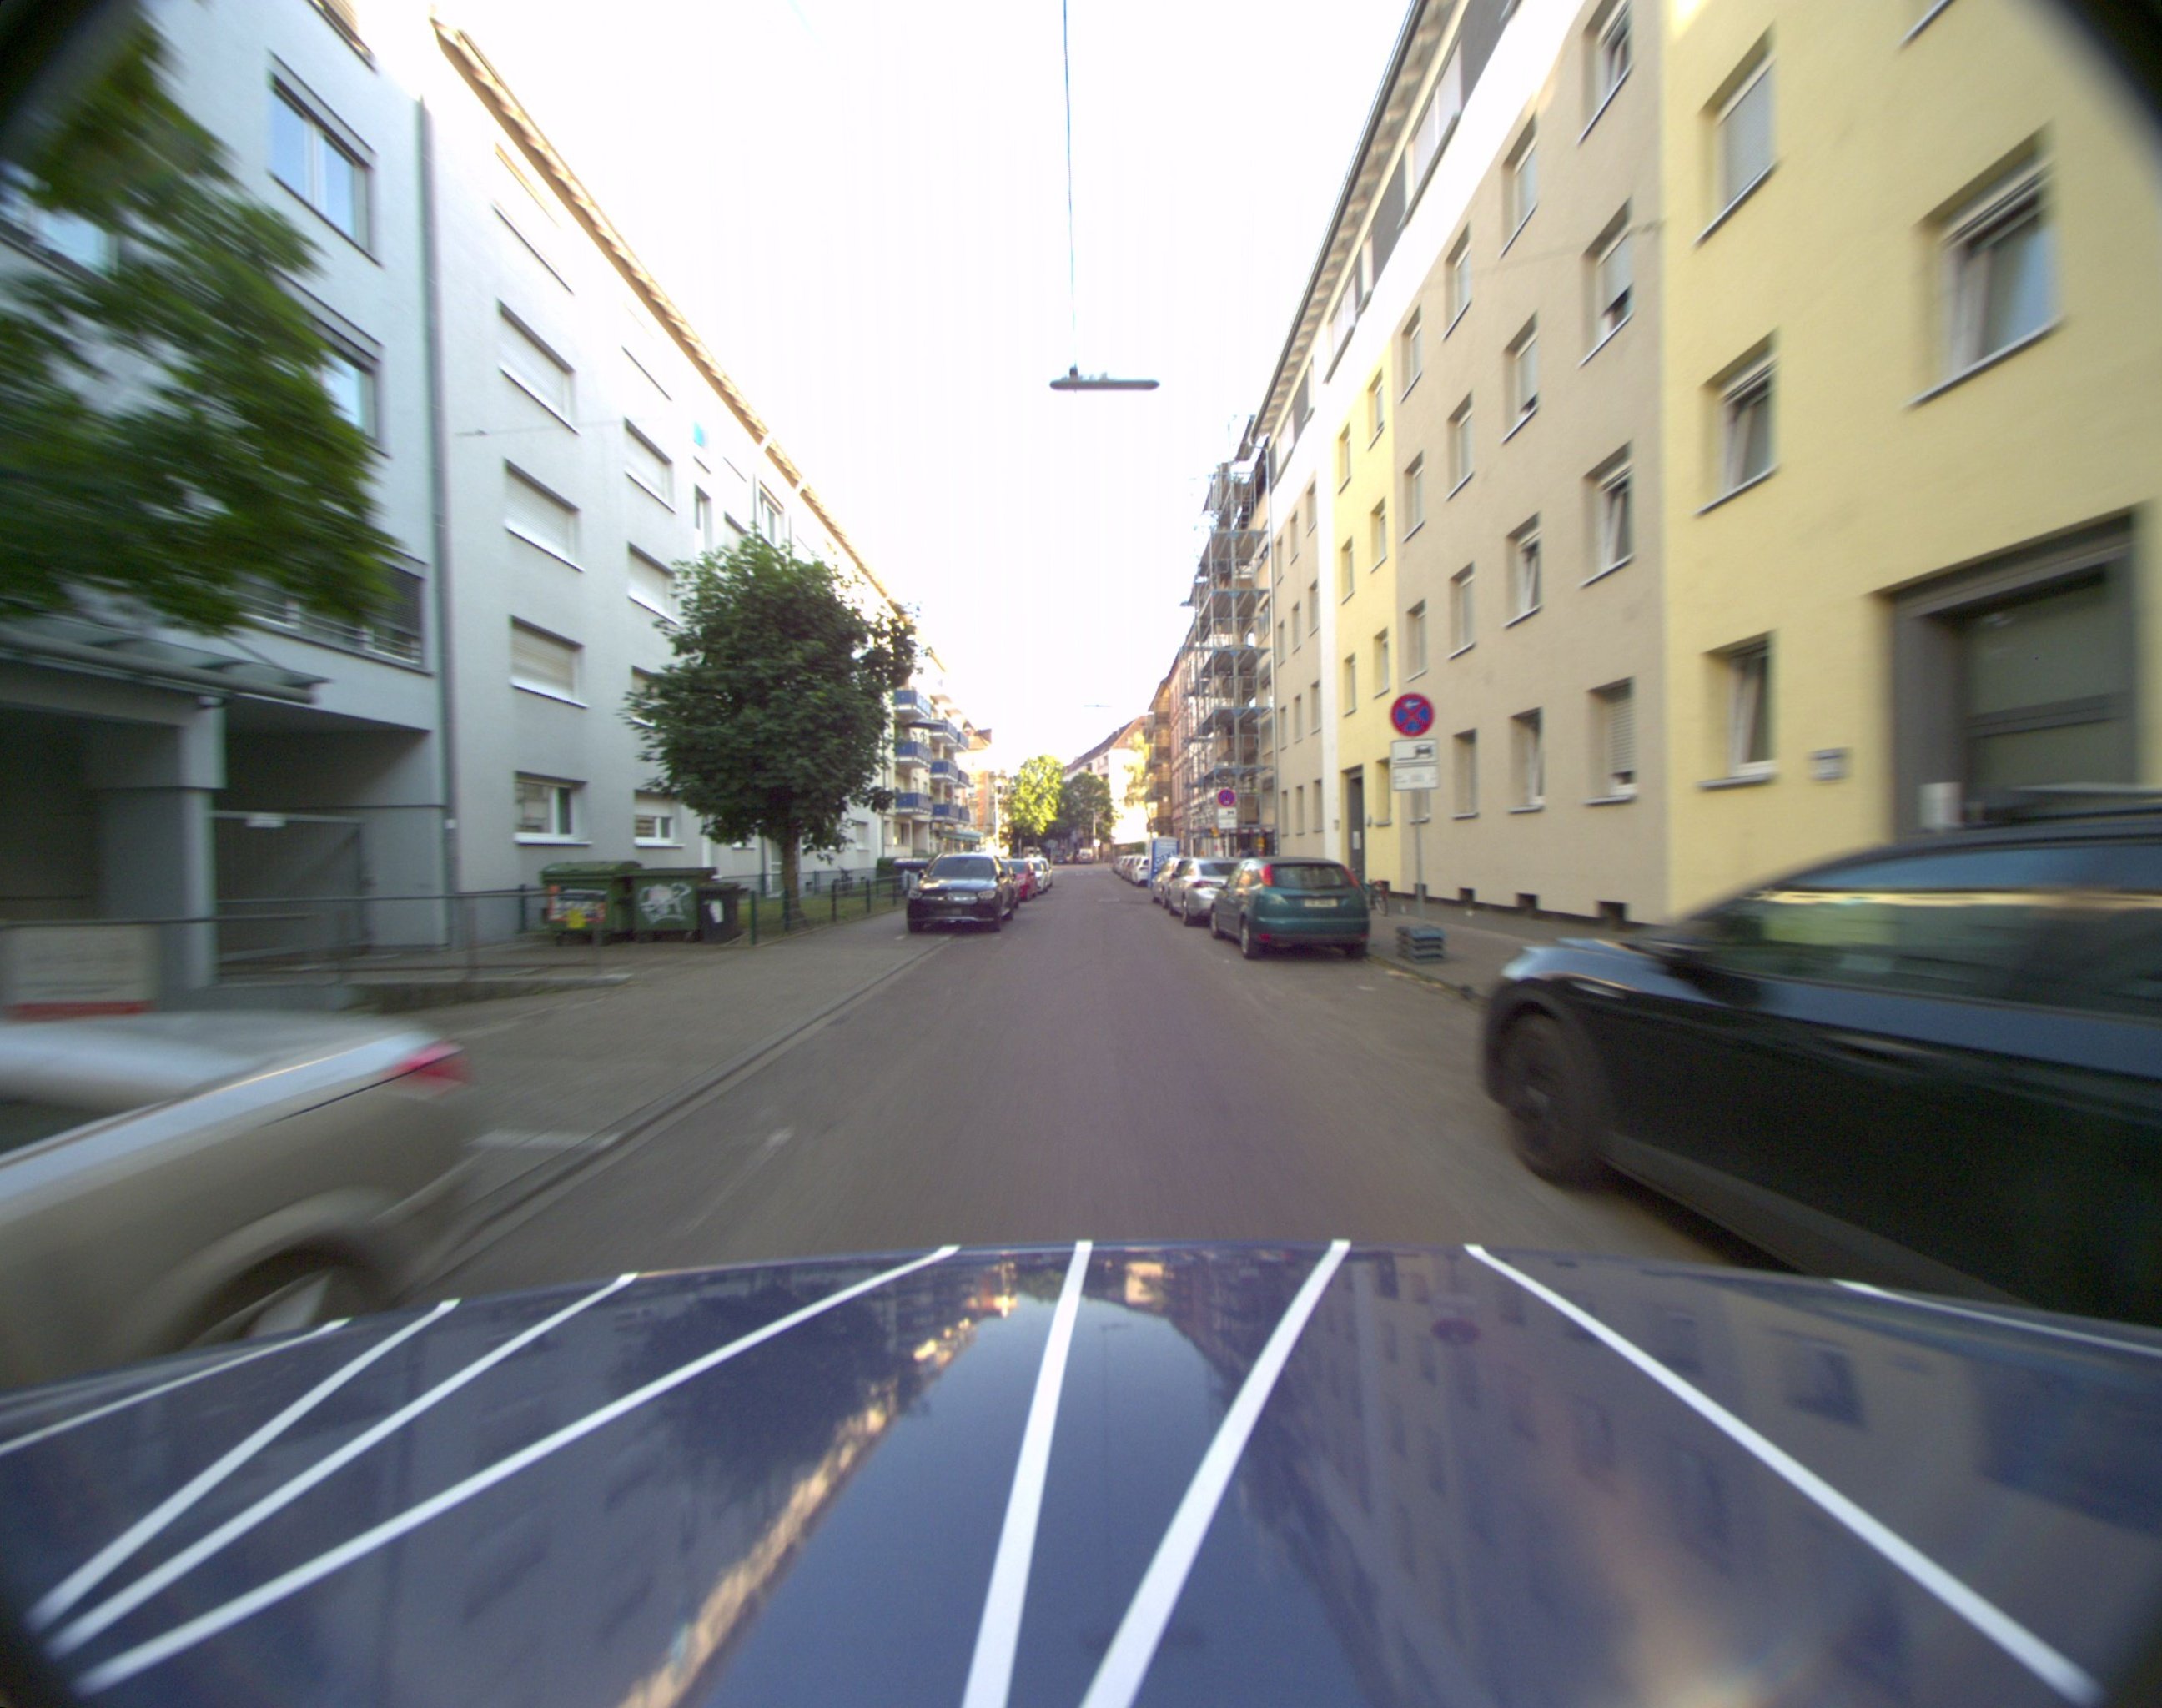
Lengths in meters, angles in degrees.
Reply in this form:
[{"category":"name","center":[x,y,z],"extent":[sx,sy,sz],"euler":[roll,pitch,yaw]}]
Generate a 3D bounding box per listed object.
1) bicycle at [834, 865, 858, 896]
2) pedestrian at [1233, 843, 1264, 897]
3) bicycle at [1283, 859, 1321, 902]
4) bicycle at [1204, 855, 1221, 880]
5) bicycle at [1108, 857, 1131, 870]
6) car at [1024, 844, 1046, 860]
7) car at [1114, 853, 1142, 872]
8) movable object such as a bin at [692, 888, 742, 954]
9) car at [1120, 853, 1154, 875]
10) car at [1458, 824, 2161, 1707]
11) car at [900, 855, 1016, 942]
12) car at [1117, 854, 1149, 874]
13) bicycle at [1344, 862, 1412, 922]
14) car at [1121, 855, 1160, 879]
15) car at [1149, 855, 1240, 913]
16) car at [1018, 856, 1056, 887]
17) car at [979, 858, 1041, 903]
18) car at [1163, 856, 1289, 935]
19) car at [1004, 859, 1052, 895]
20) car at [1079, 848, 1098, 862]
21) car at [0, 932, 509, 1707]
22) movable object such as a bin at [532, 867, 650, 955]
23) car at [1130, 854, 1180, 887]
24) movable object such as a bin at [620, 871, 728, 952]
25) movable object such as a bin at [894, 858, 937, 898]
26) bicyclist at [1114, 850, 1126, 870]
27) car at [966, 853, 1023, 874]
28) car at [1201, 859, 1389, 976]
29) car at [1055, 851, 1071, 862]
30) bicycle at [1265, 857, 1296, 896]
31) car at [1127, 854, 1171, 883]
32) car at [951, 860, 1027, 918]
[{"category":"bicycle","center":[-8.533,0.943,27.581],"extent":[0.602,1.084,1.738],"euler":[0,1,-10]},{"category":"pedestrian","center":[5.549,0.513,25.179],"extent":[0.791,1.750,1.092],"euler":[0,1,1]},{"category":"bicycle","center":[6.409,0.746,22.106],"extent":[0.479,1.161,1.732],"euler":[-4,1,-2]},{"category":"bicycle","center":[6.692,0.699,38.648],"extent":[0.490,1.161,1.684],"euler":[-4,1,19]},{"category":"bicycle","center":[3.616,0.875,71.130],"extent":[2.106,1.161,0.567],"euler":[0,1,0]},{"category":"car","center":[-6.578,-0.326,108.529],"extent":[2.163,2.270,6.200],"euler":[0,0,-13]},{"category":"car","center":[3.866,0.686,62.943],"extent":[1.999,1.462,3.999],"euler":[0,0,-1]},{"category":"movable object such as a bin","center":[-6.182,1.134,12.932],"extent":[0.529,1.065,0.625],"euler":[0,1,1]},{"category":"car","center":[3.808,0.680,52.363],"extent":[1.999,1.423,3.999],"euler":[0,0,-1]},{"category":"car","center":[2.976,0.782,1.793],"extent":[1.925,1.654,4.469],"euler":[1,0,0]},{"category":"car","center":[-2.553,0.862,16.895],"extent":[1.876,1.626,4.721],"euler":[0,0,-1]},{"category":"car","center":[3.861,0.706,57.034],"extent":[1.999,1.423,3.999],"euler":[0,0,-1]},{"category":"bicycle","center":[6.248,0.775,16.085],"extent":[0.611,1.161,1.924],"euler":[0,0,-2]},{"category":"car","center":[3.625,0.771,46.944],"extent":[1.999,1.423,3.999],"euler":[0,0,-1]},{"category":"car","center":[3.206,0.796,22.352],"extent":[1.927,1.480,4.616],"euler":[0,0,-1]},{"category":"car","center":[-2.191,0.853,38.574],"extent":[1.680,1.411,4.135],"euler":[0,0,0]},{"category":"car","center":[-2.490,0.906,27.445],"extent":[1.680,1.474,3.652],"euler":[0,0,3]},{"category":"car","center":[3.051,0.804,16.985],"extent":[1.927,1.480,4.617],"euler":[0,0,0]},{"category":"car","center":[-2.205,0.934,32.384],"extent":[1.680,1.411,4.136],"euler":[0,0,1]},{"category":"car","center":[0.983,0.077,99.697],"extent":[2.081,1.760,4.215],"euler":[0,0,-6]},{"category":"car","center":[-2.794,0.981,0.321],"extent":[1.768,1.421,4.344],"euler":[0,0,1]},{"category":"movable object such as a bin","center":[-8.396,0.950,13.091],"extent":[1.264,1.428,1.139],"euler":[0,1,1]},{"category":"car","center":[3.525,0.737,36.799],"extent":[1.999,1.496,3.999],"euler":[0,0,-1]},{"category":"movable object such as a bin","center":[-7.087,0.975,13.307],"extent":[1.264,1.313,1.139],"euler":[0,1,1]},{"category":"movable object such as a bin","center":[-6.025,0.856,27.709],"extent":[1.287,1.428,1.223],"euler":[0,1,1]},{"category":"bicyclist","center":[3.610,0.569,71.115],"extent":[1.097,1.792,0.567],"euler":[0,1,0]},{"category":"car","center":[-6.351,0.688,56.070],"extent":[3.997,1.556,2.000],"euler":[0,1,-1]},{"category":"car","center":[3.139,0.840,12.127],"extent":[1.783,1.480,4.420],"euler":[0,0,1]},{"category":"car","center":[-2.450,0.329,101.469],"extent":[1.829,1.496,3.997],"euler":[0,0,-6]},{"category":"bicycle","center":[6.480,0.706,24.771],"extent":[0.405,1.161,1.816],"euler":[-4,1,-2]},{"category":"car","center":[3.648,0.756,41.628],"extent":[1.999,1.439,3.999],"euler":[0,0,-1]},{"category":"car","center":[-2.555,0.934,21.751],"extent":[1.680,1.474,3.652],"euler":[0,0,1]}]
